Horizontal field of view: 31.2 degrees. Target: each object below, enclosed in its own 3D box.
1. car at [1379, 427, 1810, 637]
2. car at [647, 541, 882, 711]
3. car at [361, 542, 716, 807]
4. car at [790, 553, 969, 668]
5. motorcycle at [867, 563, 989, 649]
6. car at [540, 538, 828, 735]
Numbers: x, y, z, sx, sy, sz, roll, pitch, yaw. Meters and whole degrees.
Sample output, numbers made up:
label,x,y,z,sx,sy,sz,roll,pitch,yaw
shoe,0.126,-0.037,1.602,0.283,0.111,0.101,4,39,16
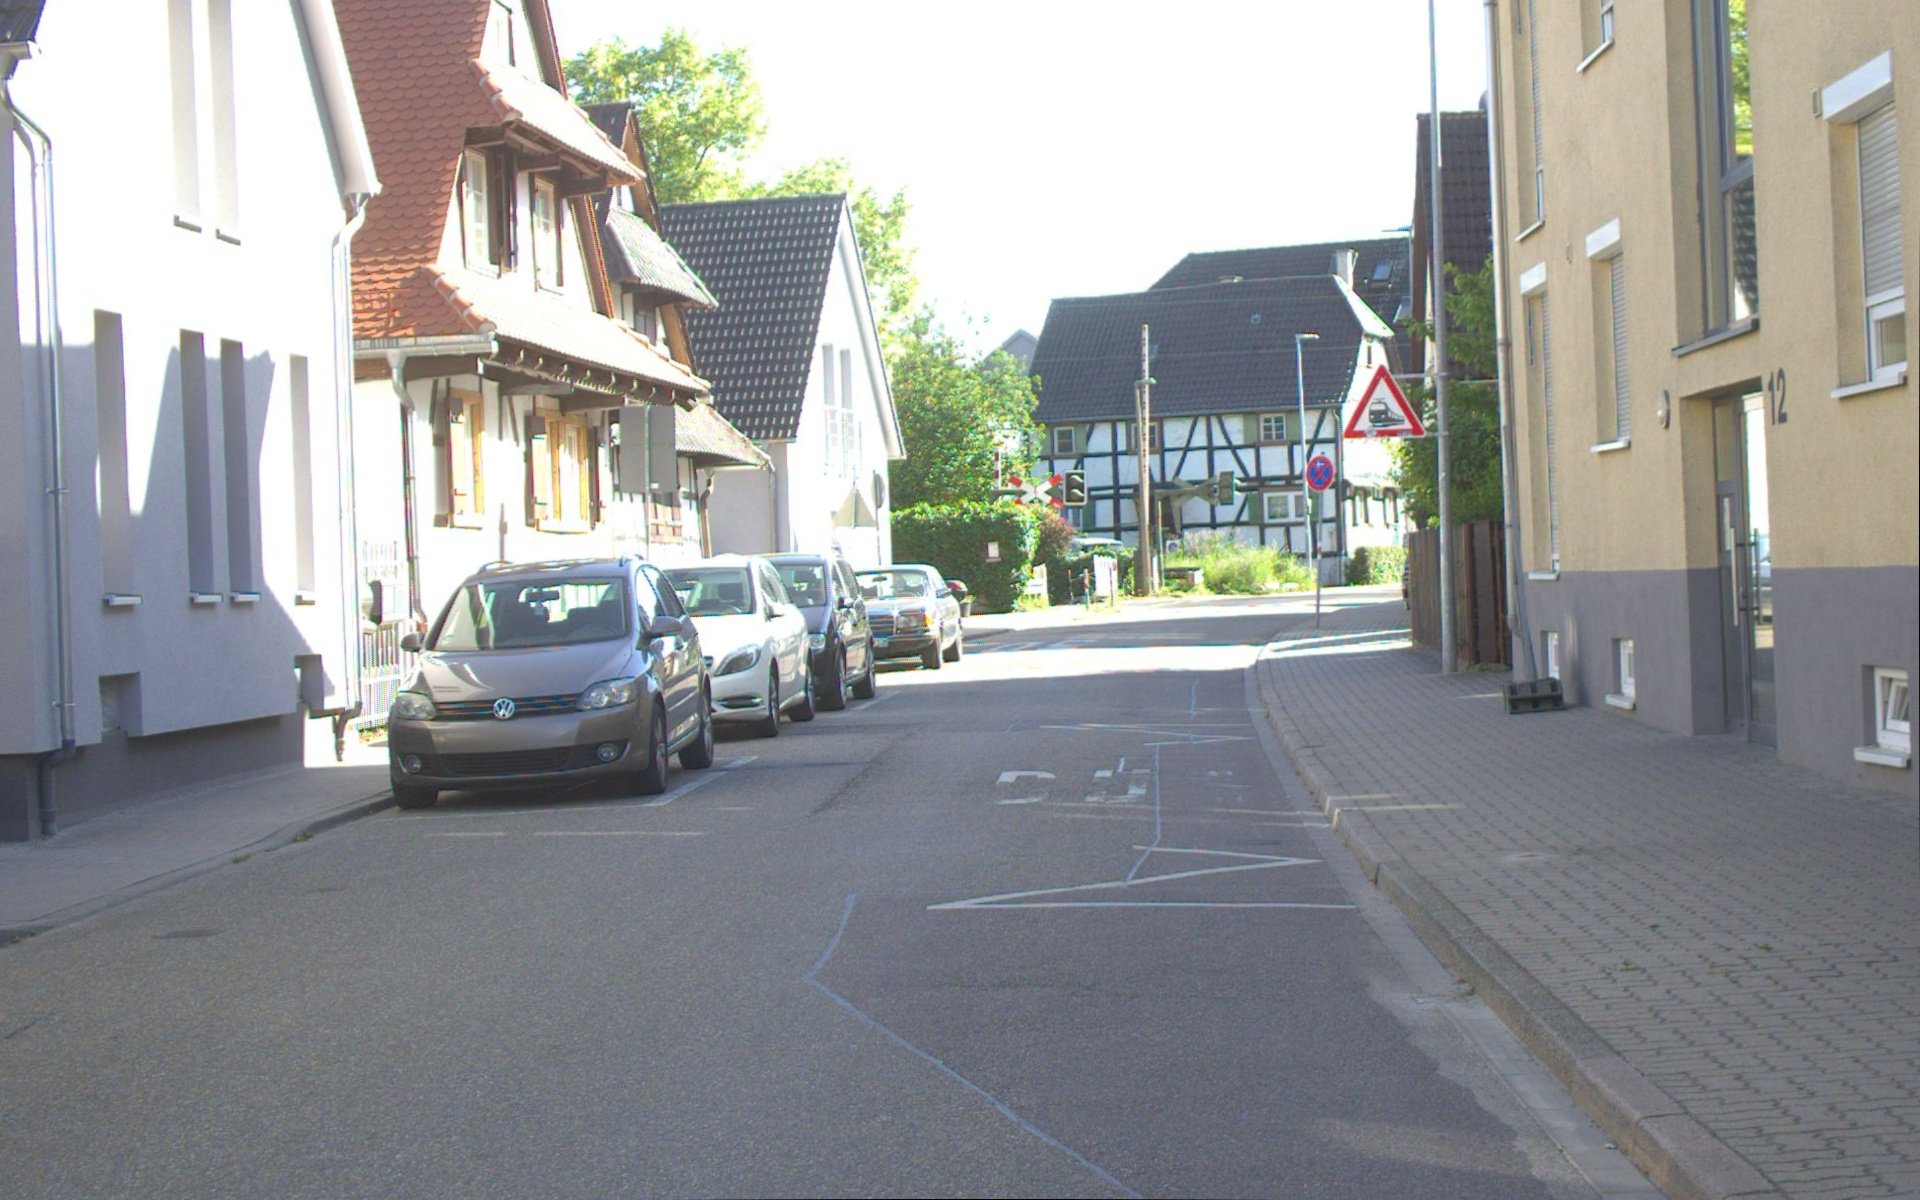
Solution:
label,x,y,z,sx,sy,sz,roll,pitch,yaw
car,9.225,-0.966,50.370,5.803,2.646,1.967,-4,-1,1
car,-1.963,0.225,35.770,1.784,1.599,4.360,-2,0,5
car,-2.793,0.459,23.621,1.742,1.608,4.000,-2,0,2
car,-1.049,0.118,47.273,1.845,1.401,5.036,-3,0,5
motorcycle,-0.487,0.095,51.002,0.625,1.227,1.994,-3,1,-41
car,-2.361,0.293,30.443,1.816,1.561,4.167,-2,0,5
